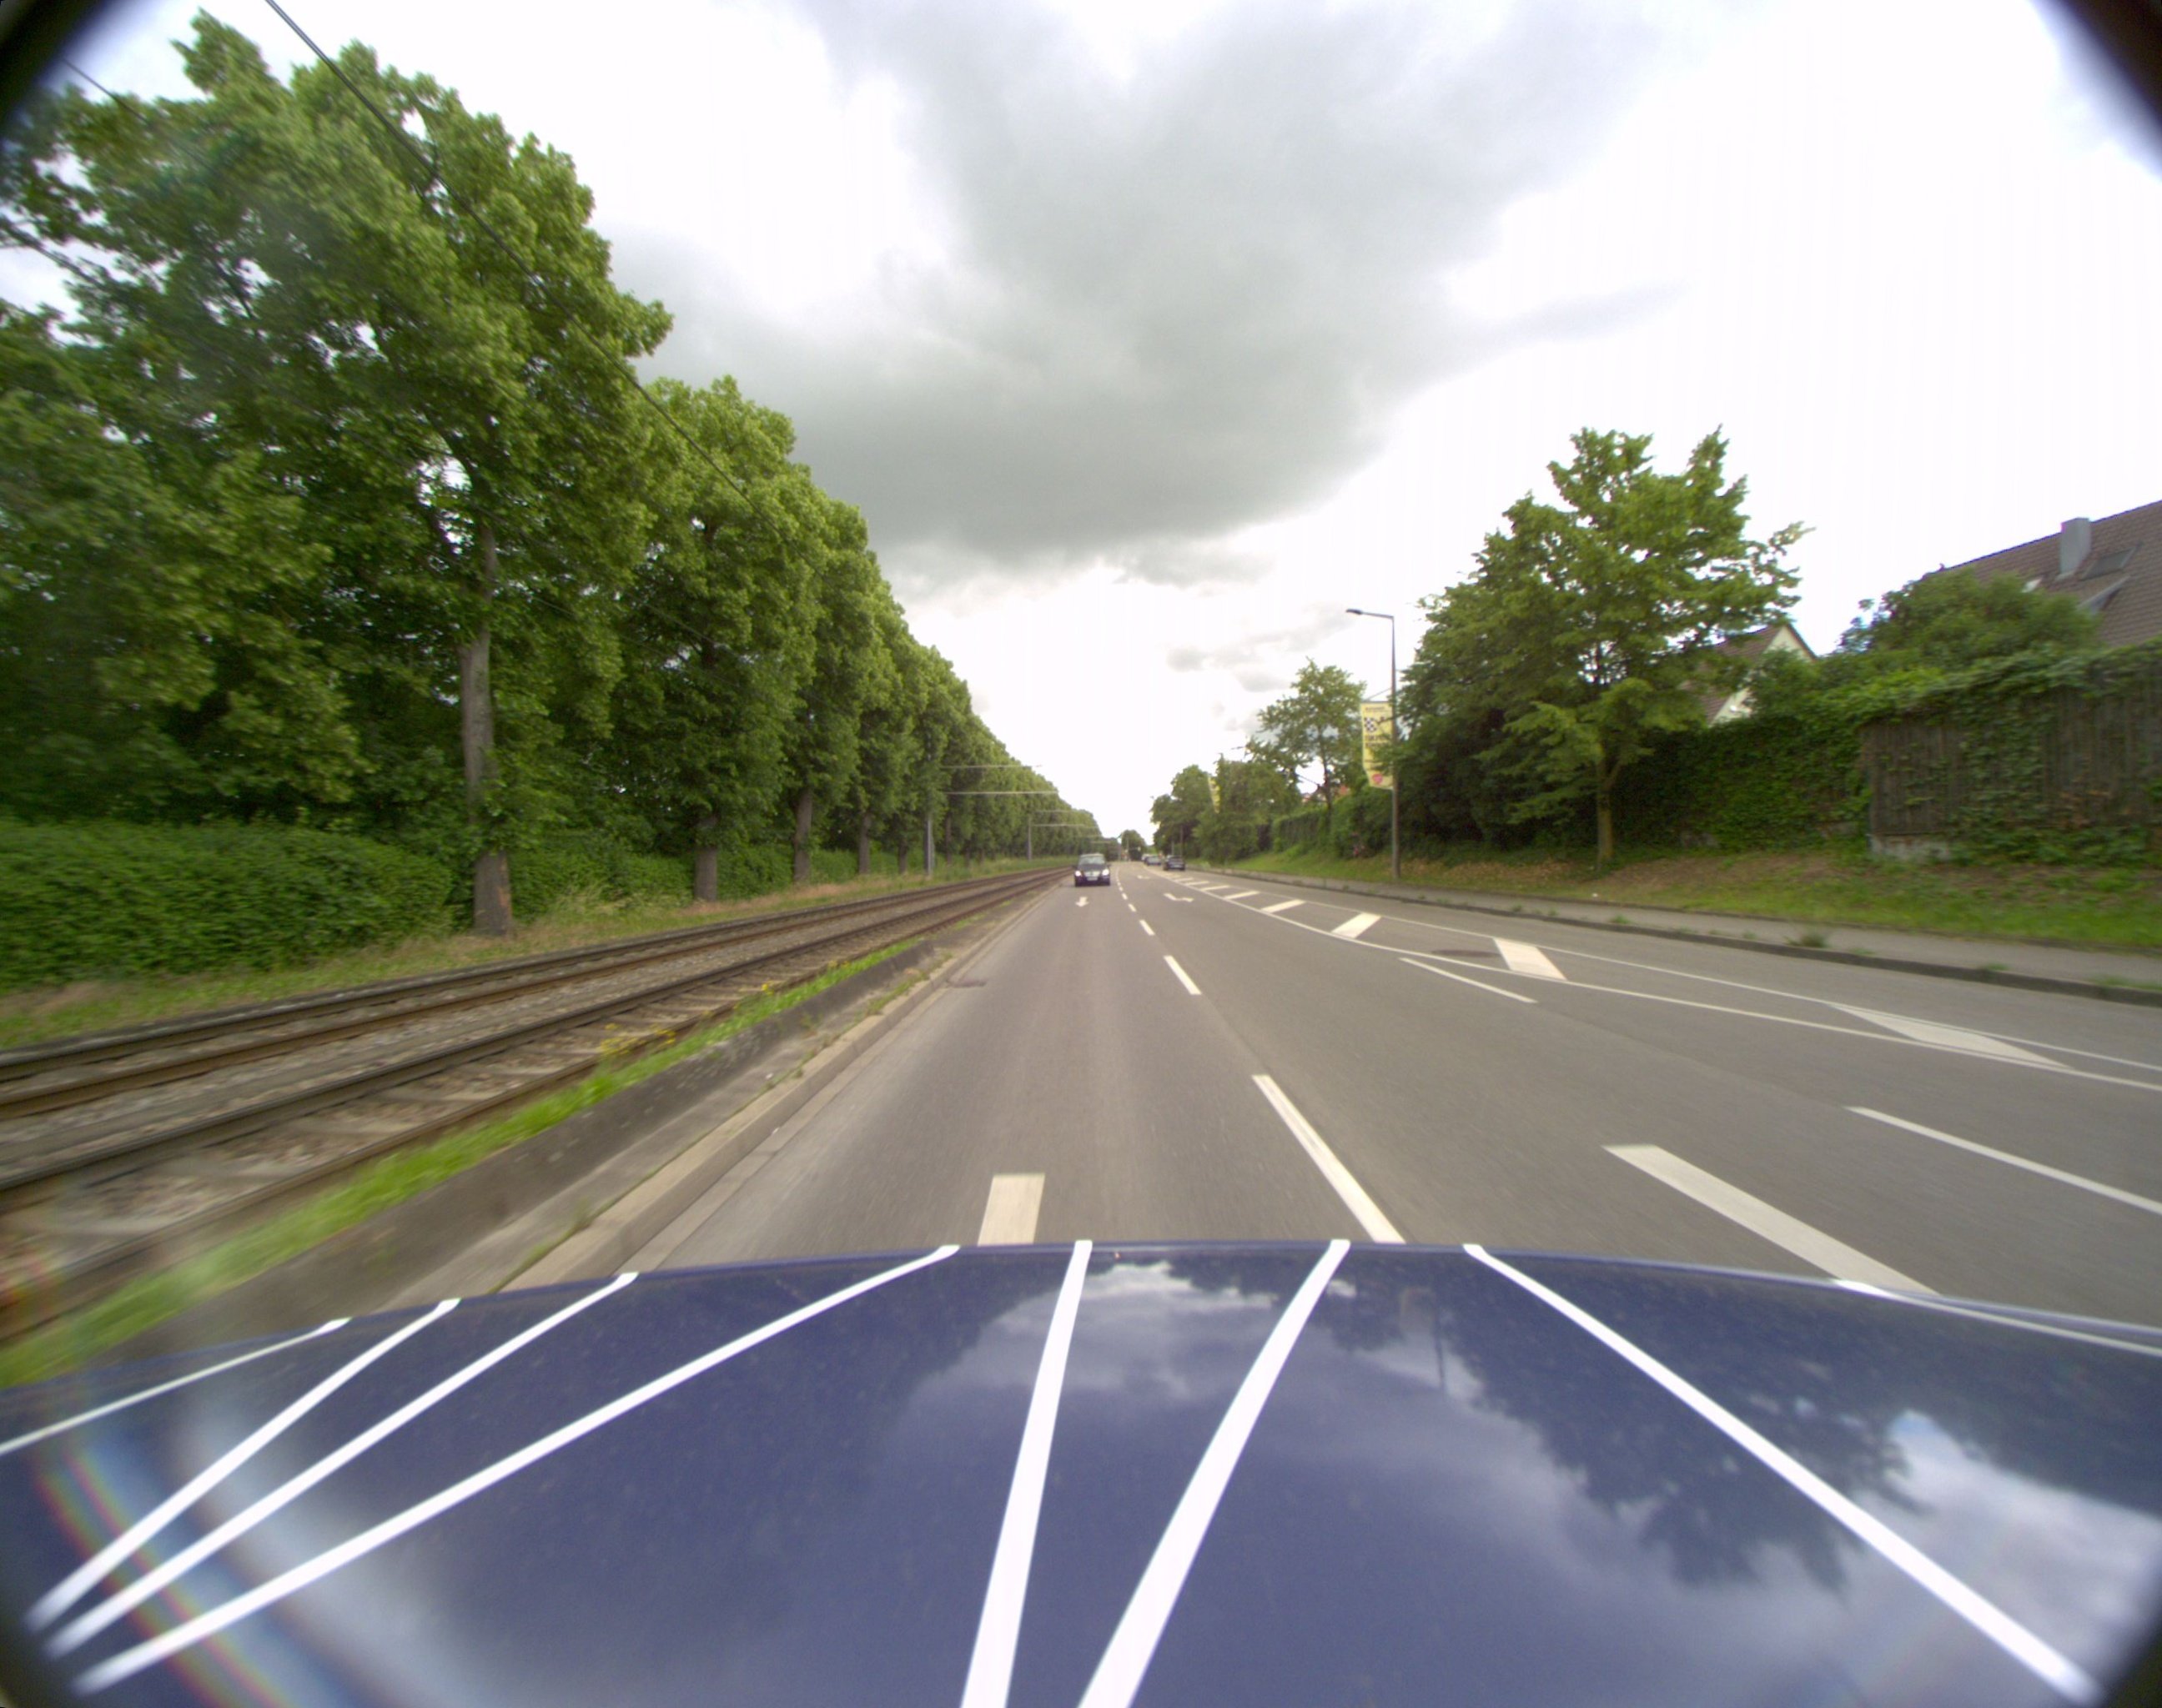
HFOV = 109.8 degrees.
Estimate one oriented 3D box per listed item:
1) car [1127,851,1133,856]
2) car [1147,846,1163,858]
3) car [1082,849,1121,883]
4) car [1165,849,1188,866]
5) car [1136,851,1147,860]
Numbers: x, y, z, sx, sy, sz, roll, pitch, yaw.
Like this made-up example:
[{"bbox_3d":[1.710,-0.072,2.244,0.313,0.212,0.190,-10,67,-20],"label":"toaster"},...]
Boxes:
[{"bbox_3d":[16.567,-0.165,255.148,1.807,1.778,3.928,-3,1,1],"label":"car"},{"bbox_3d":[10.370,-0.261,106.658,1.807,1.520,3.928,-3,1,1],"label":"car"},{"bbox_3d":[1.053,0.565,38.883,1.807,1.520,3.928,-3,1,1],"label":"car"},{"bbox_3d":[8.742,0.296,69.999,1.657,1.414,4.008,1,1,1],"label":"car"},{"bbox_3d":[10.193,0.213,127.744,1.653,1.418,3.928,-3,1,1],"label":"car"}]
